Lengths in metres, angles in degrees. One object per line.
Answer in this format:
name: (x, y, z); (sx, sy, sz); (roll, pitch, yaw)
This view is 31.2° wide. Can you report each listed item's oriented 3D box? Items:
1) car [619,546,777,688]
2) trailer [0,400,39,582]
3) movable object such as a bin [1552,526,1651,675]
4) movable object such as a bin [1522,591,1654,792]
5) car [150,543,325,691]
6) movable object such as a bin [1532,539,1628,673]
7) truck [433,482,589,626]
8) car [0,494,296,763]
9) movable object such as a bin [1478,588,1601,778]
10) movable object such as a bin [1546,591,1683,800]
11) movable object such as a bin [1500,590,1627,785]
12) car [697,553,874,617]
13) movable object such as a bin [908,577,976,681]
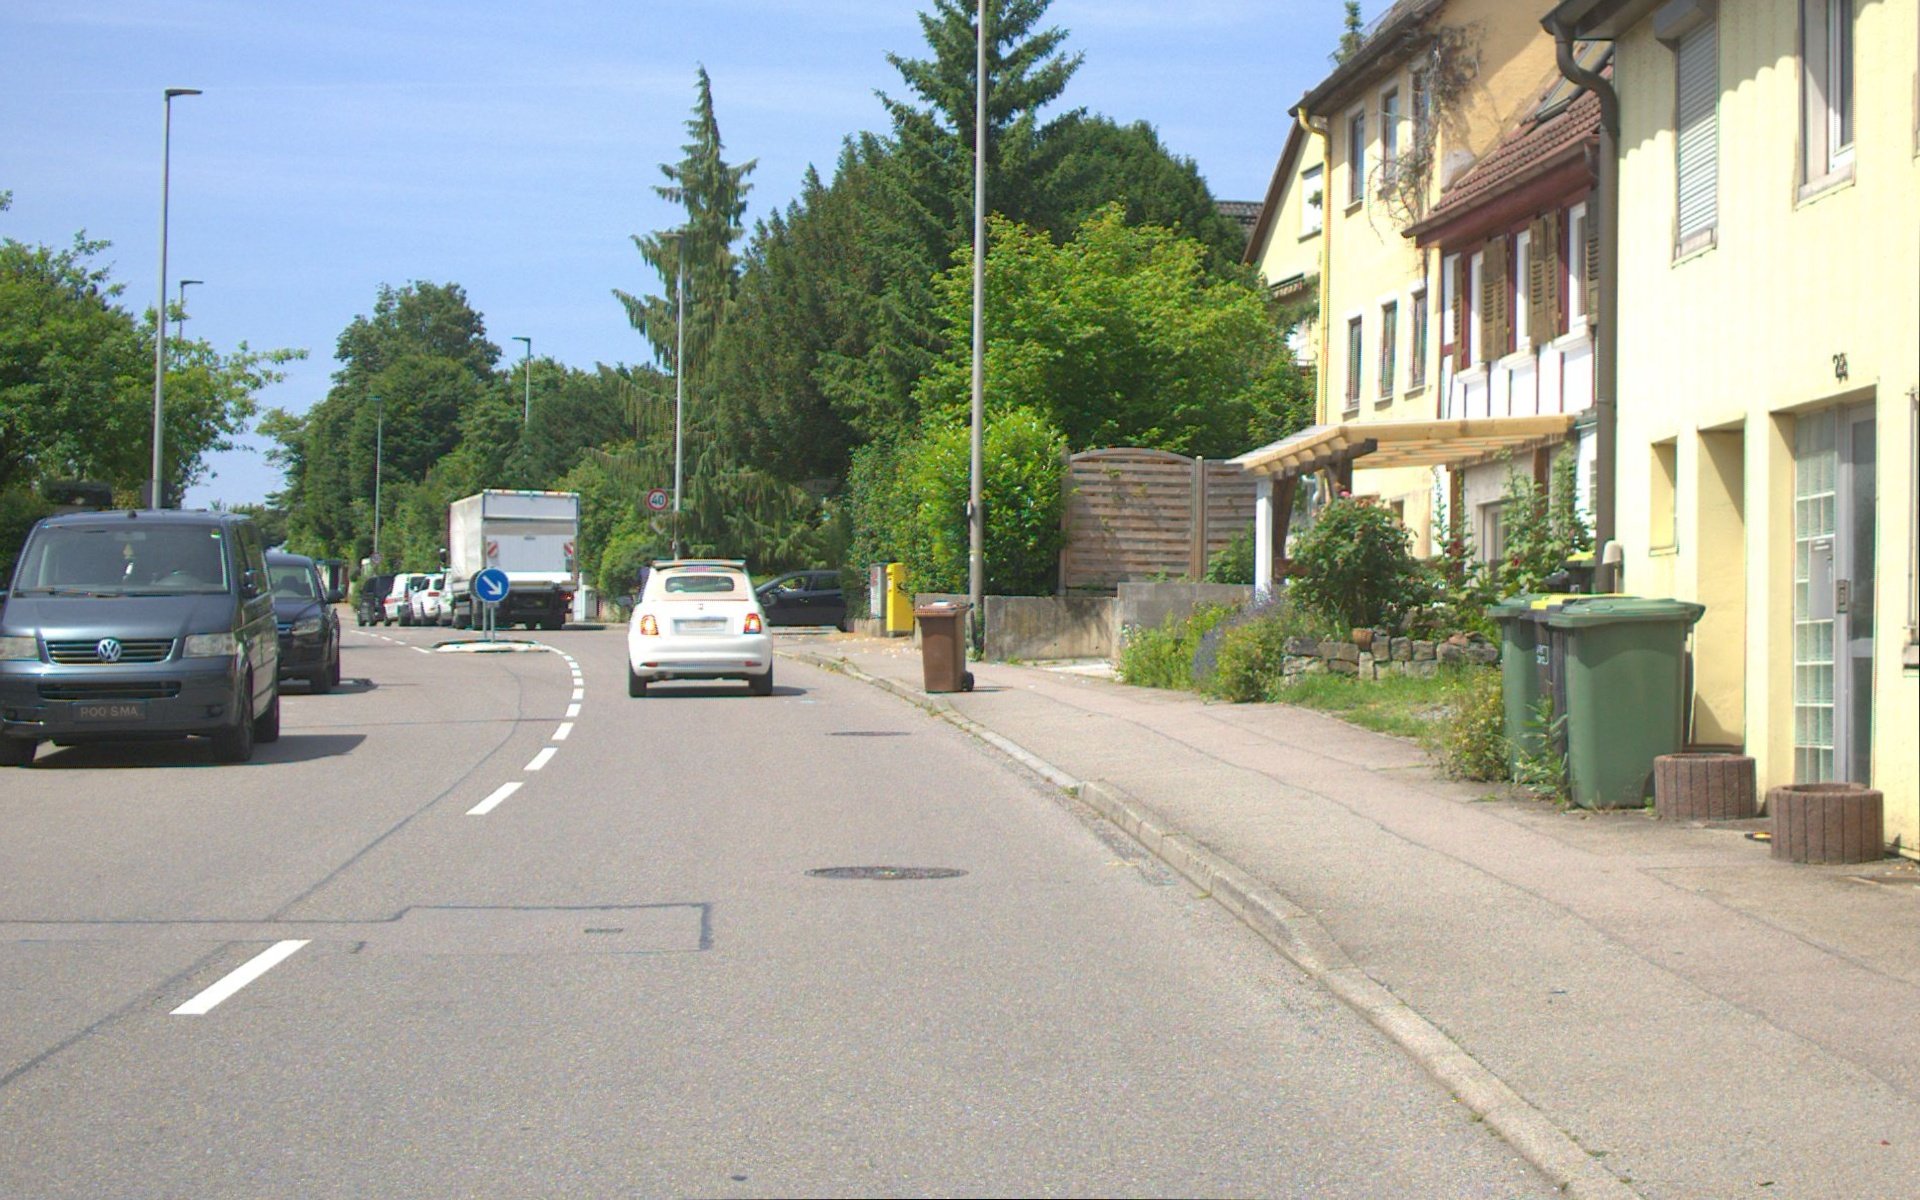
car: (-3.053, 0.169, 39.699); (1.724, 1.555, 4.001); (0, 0, -5)
trailer: (-16.334, -1.753, 56.541); (1.711, 2.839, 6.176); (1, 0, -10)
movable object such as a bin: (5.240, 0.005, 28.098); (0.534, 1.153, 0.549); (-6, 1, -8)
movable object such as a bin: (3.354, 0.481, 18.391); (0.546, 1.030, 0.551); (-2, 1, -3)
car: (-8.410, 0.158, 40.305); (1.768, 1.630, 4.289); (-1, 1, -9)
movable object such as a bin: (5.173, 0.049, 28.698); (0.534, 1.053, 0.549); (-6, 1, -8)
truck: (-12.338, -1.196, 93.885); (3.067, 3.761, 7.870); (0, 0, -16)
car: (-6.478, 0.186, 27.453); (1.890, 1.931, 4.987); (-1, 1, -6)
movable object such as a bin: (3.291, 0.463, 19.552); (0.546, 1.030, 0.551); (-2, 1, -3)
movable object such as a bin: (3.384, 0.485, 17.805); (0.546, 1.030, 0.551); (-2, 1, -3)
movable object such as a bin: (3.326, 0.475, 18.970); (0.546, 1.030, 0.551); (-2, 1, -3)
car: (-4.090, -0.356, 80.322); (3.932, 1.453, 1.659); (0, 0, -10)
movable object such as a bin: (-0.184, 0.302, 35.581); (0.494, 1.030, 0.548); (-3, 1, 18)
